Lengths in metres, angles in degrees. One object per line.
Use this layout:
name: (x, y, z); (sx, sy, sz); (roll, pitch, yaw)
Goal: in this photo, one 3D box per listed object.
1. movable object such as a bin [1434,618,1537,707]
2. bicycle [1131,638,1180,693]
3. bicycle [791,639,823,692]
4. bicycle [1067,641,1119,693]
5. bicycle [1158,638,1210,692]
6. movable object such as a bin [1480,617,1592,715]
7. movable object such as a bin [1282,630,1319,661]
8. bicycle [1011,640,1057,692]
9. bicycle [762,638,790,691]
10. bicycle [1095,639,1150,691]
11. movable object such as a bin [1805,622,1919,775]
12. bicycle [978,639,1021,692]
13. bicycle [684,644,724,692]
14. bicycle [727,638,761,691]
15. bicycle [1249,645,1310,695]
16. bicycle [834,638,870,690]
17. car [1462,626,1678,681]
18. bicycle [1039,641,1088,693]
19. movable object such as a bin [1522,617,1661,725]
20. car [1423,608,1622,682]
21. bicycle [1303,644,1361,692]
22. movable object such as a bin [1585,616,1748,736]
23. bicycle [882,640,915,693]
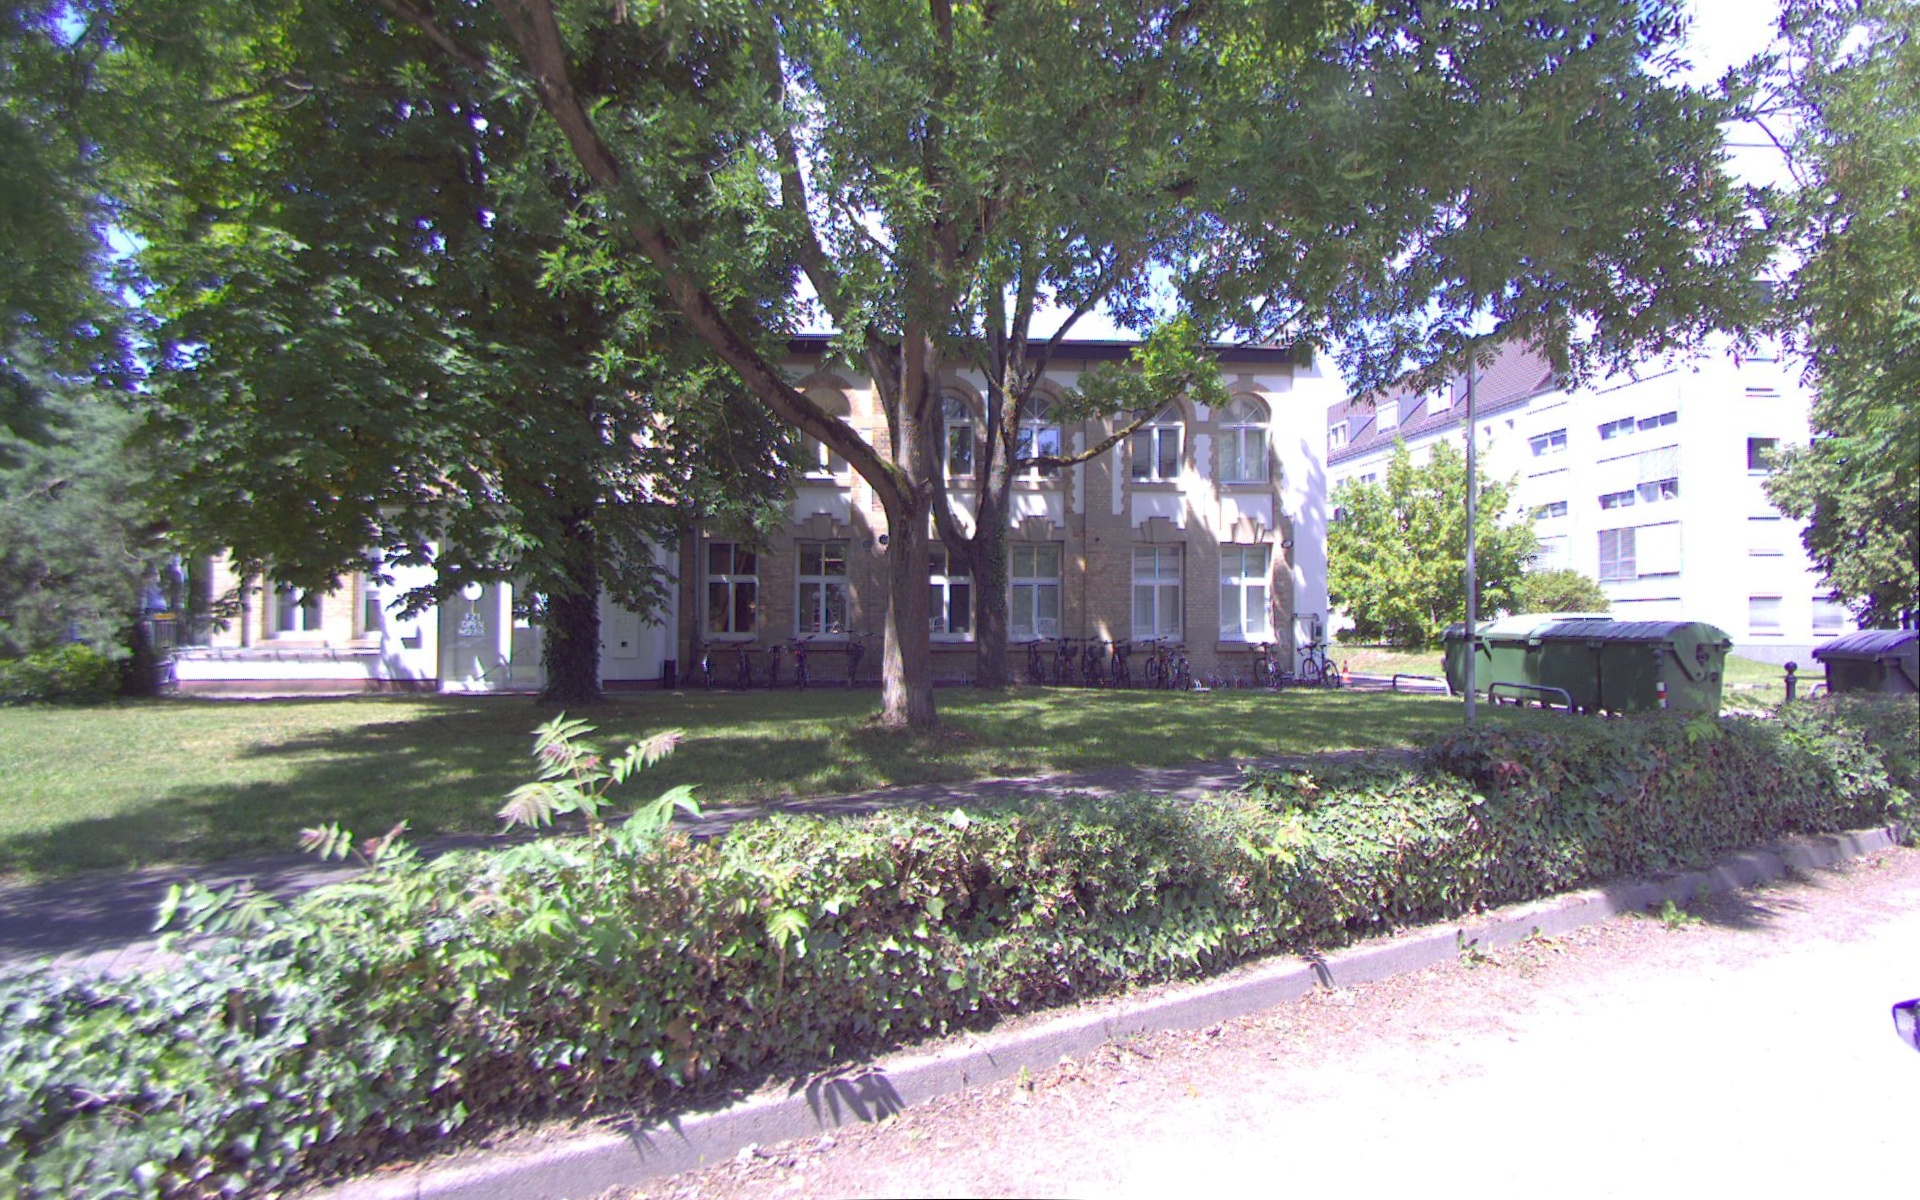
movable object such as a bin: (9.183, 1.071, 17.612); (1.027, 1.499, 1.410); (0, -1, -2)
bicycle: (4.245, 1.399, 21.973); (0.595, 1.096, 2.260); (0, -1, -1)
bicycle: (-3.290, 1.361, 21.467); (0.596, 1.025, 2.256); (0, -1, -10)
bicycle: (2.862, 1.426, 21.814); (0.596, 1.025, 2.258); (0, -1, -6)
bicycle: (4.875, 1.392, 21.964); (0.595, 1.096, 2.260); (0, -1, -1)
movable object such as a bin: (9.208, 1.038, 16.119); (1.027, 1.499, 1.262); (0, -1, -2)
movable object such as a bin: (15.094, 2.024, 44.570); (1.196, 1.344, 1.160); (0, -1, -1)
bicycle: (1.575, 1.390, 21.666); (0.596, 1.025, 2.258); (0, -1, -6)
bicycle: (-3.934, 1.348, 21.468); (0.560, 1.025, 2.256); (0, -1, -10)
bicycle: (3.506, 1.392, 21.862); (0.596, 1.025, 2.258); (0, -1, -6)
movable object such as a bin: (9.180, 0.923, 9.783); (1.094, 1.412, 1.160); (-1, -1, 20)
bicycle: (0.832, 1.375, 21.603); (0.596, 1.025, 2.258); (0, -1, -6)
bicycle: (-5.327, 1.394, 21.002); (0.644, 0.902, 2.256); (0, -1, -10)
bicycle: (-4.559, 1.330, 21.301); (0.621, 1.025, 2.255); (0, -1, -11)
bicycle: (6.976, 1.506, 22.033); (0.595, 0.971, 2.260); (0, -1, -1)
bicycle: (-2.339, 1.339, 21.543); (0.596, 1.025, 2.256); (0, -1, -10)
car: (15.671, 1.362, 25.944); (4.537, 1.370, 1.833); (0, -1, -3)
bicycle: (2.209, 1.416, 21.741); (0.596, 1.025, 2.258); (0, -1, -6)
movable object such as a bin: (9.238, 1.009, 14.757); (1.078, 1.499, 1.357); (0, -1, -13)
car: (16.189, 1.303, 29.055); (4.682, 2.040, 2.000); (0, -2, -3)
bicycle: (8.173, 1.481, 22.127); (0.602, 0.971, 1.730); (0, -1, -1)
movable object such as a bin: (9.356, 0.978, 13.381); (1.185, 1.499, 1.324); (0, -1, -6)
bicycle: (-1.346, 1.403, 21.543); (0.596, 1.025, 2.258); (0, -1, -6)
